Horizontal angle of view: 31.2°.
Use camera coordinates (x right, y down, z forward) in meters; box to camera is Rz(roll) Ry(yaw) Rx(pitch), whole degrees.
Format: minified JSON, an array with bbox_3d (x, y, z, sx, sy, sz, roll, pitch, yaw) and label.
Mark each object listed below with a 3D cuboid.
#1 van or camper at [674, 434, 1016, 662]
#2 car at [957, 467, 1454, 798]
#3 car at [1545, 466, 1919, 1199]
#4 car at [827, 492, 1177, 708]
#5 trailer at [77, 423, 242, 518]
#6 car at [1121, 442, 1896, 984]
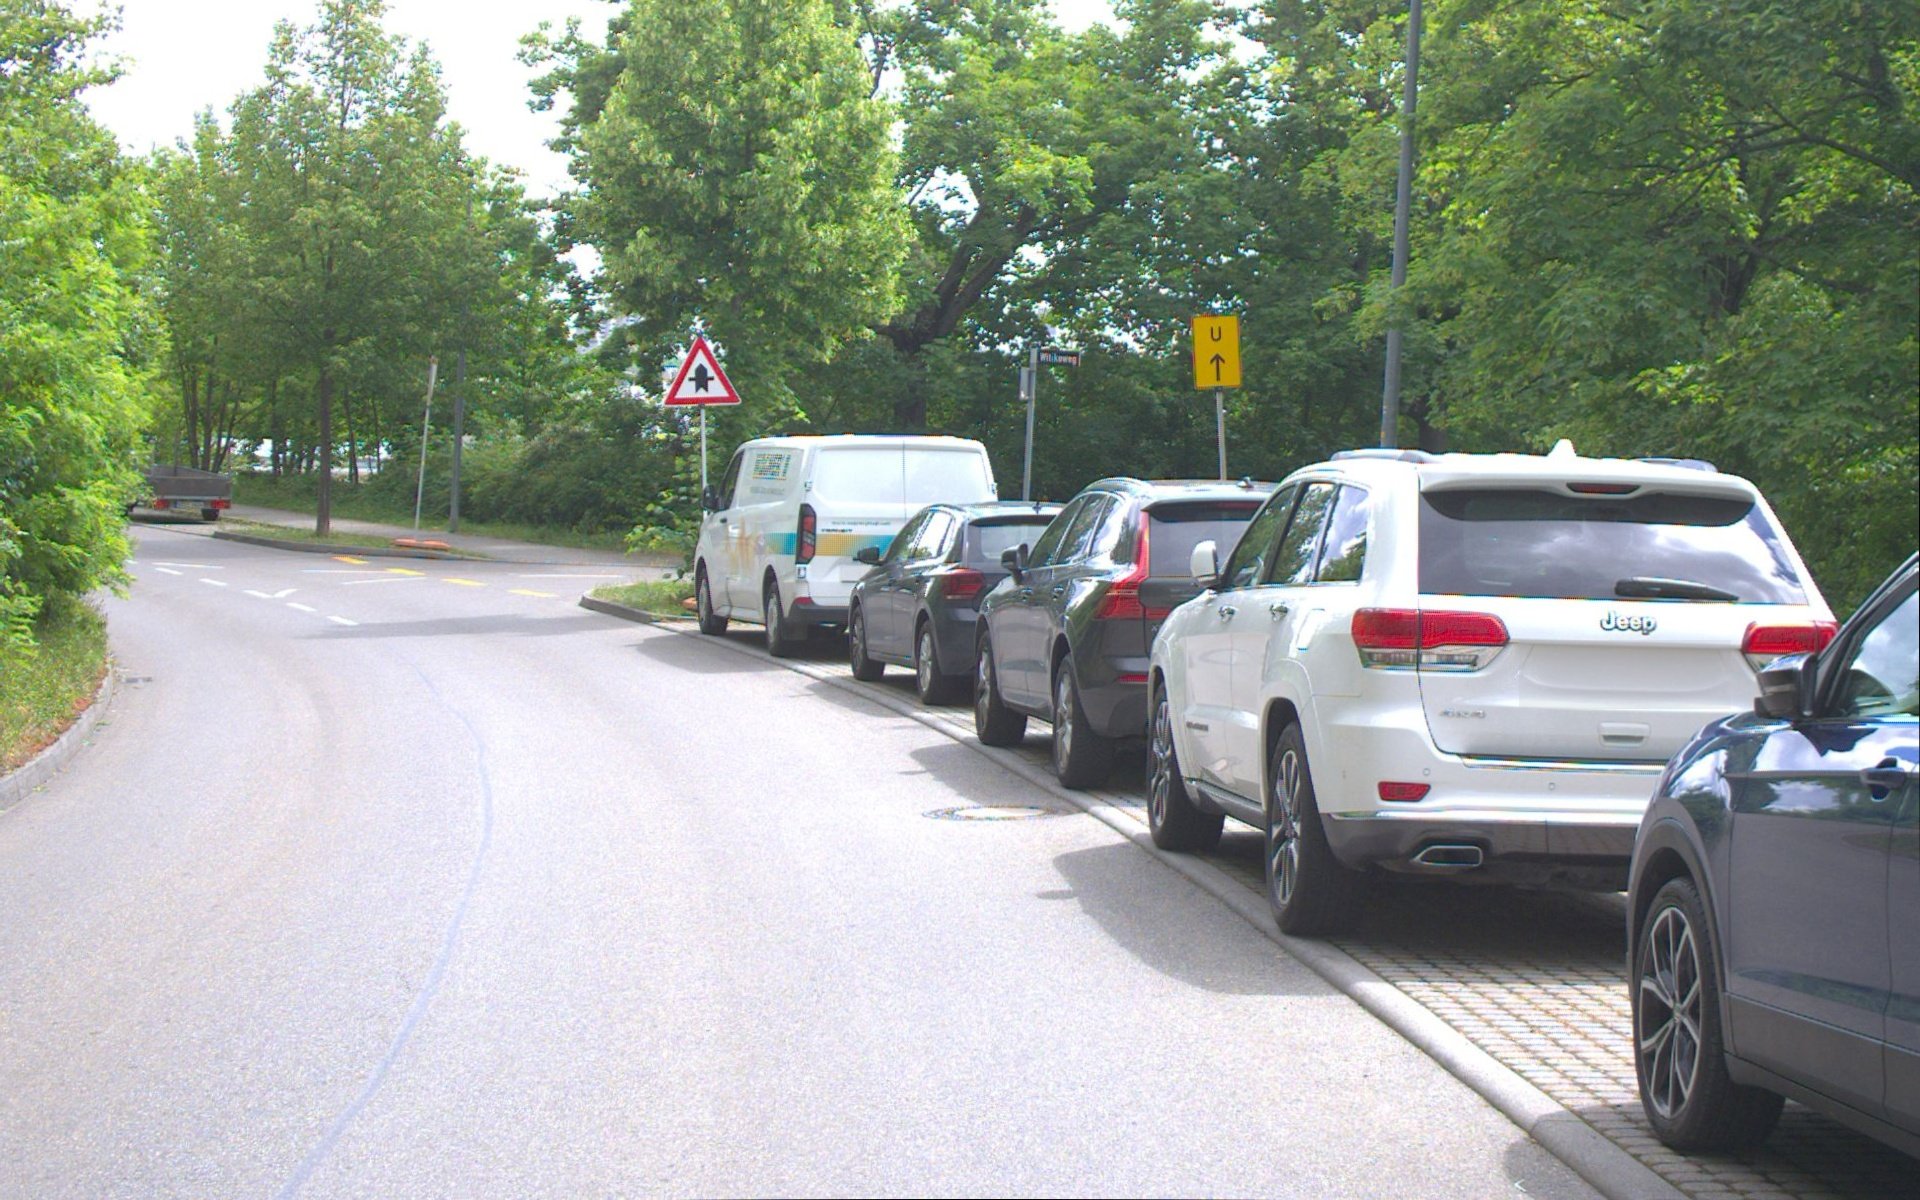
[{"bbox_3d":[-1.178,-0.555,31.815,1.993,1.913,5.268,0,3,-15],"label":"van or camper"},{"bbox_3d":[1.250,0.077,19.504,1.993,1.620,4.279,-1,3,-7],"label":"car"},{"bbox_3d":[2.542,0.575,6.798,1.710,1.586,4.001,3,1,-5],"label":"car"},{"bbox_3d":[0.227,-0.057,26.057,1.797,1.459,4.001,1,2,-12],"label":"car"},{"bbox_3d":[-14.603,-2.380,62.578,1.784,1.520,4.001,-1,5,-31],"label":"trailer"},{"bbox_3d":[1.895,0.293,13.456,1.871,1.683,4.580,3,2,-5],"label":"car"}]
